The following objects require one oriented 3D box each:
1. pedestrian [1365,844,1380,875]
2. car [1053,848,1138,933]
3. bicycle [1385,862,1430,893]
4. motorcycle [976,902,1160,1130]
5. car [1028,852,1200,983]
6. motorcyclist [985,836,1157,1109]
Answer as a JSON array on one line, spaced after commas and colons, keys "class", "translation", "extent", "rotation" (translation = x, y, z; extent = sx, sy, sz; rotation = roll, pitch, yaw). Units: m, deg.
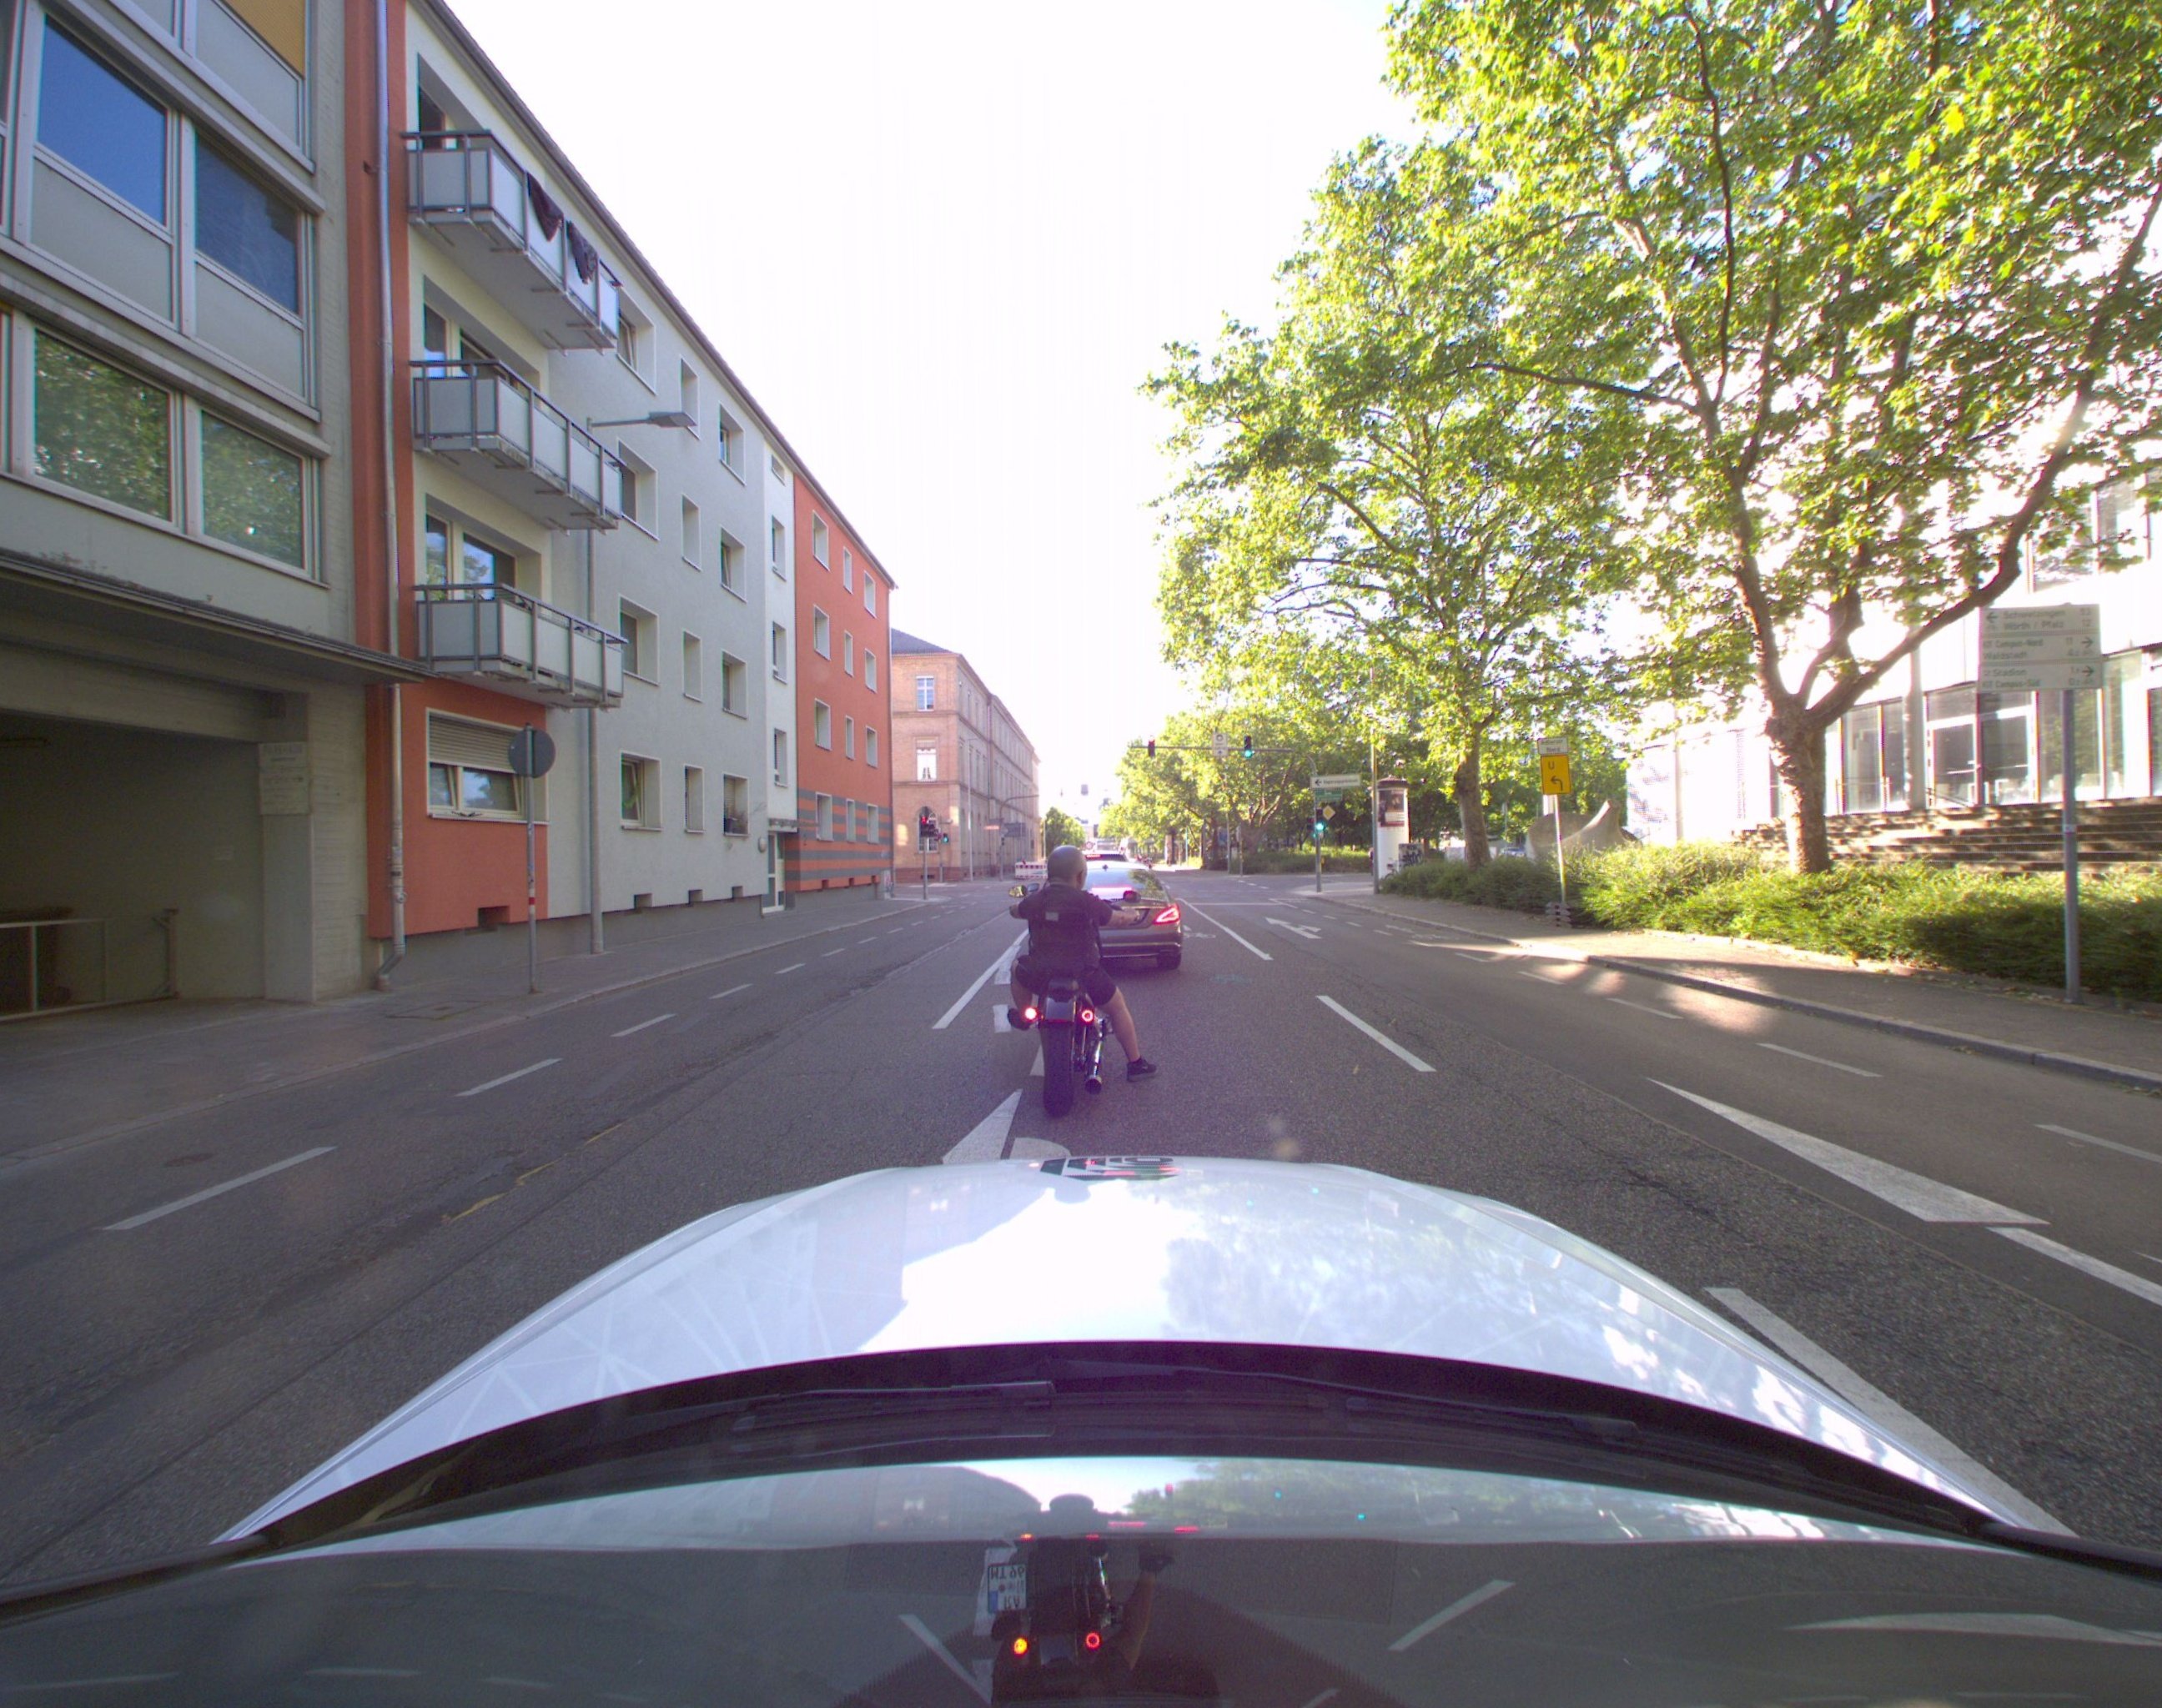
[{"class": "pedestrian", "translation": [15.926, 0.294, 44.487], "extent": [0.625, 1.666, 0.686], "rotation": [-1, 0, 12]}, {"class": "car", "translation": [0.317, 0.705, 17.886], "extent": [1.606, 1.607, 4.329], "rotation": [-1, 0, 1]}, {"class": "bicycle", "translation": [10.999, 0.793, 27.468], "extent": [1.346, 1.023, 0.363], "rotation": [-1, 0, 2]}, {"class": "motorcycle", "translation": [-0.032, 0.958, 5.678], "extent": [0.986, 1.078, 2.453], "rotation": [-1, 0, 2]}, {"class": "car", "translation": [0.253, 0.742, 11.716], "extent": [1.943, 1.473, 4.355], "rotation": [-1, 0, -5]}, {"class": "motorcyclist", "translation": [-0.040, 0.699, 5.524], "extent": [0.986, 1.597, 1.404], "rotation": [-1, 0, 2]}]
